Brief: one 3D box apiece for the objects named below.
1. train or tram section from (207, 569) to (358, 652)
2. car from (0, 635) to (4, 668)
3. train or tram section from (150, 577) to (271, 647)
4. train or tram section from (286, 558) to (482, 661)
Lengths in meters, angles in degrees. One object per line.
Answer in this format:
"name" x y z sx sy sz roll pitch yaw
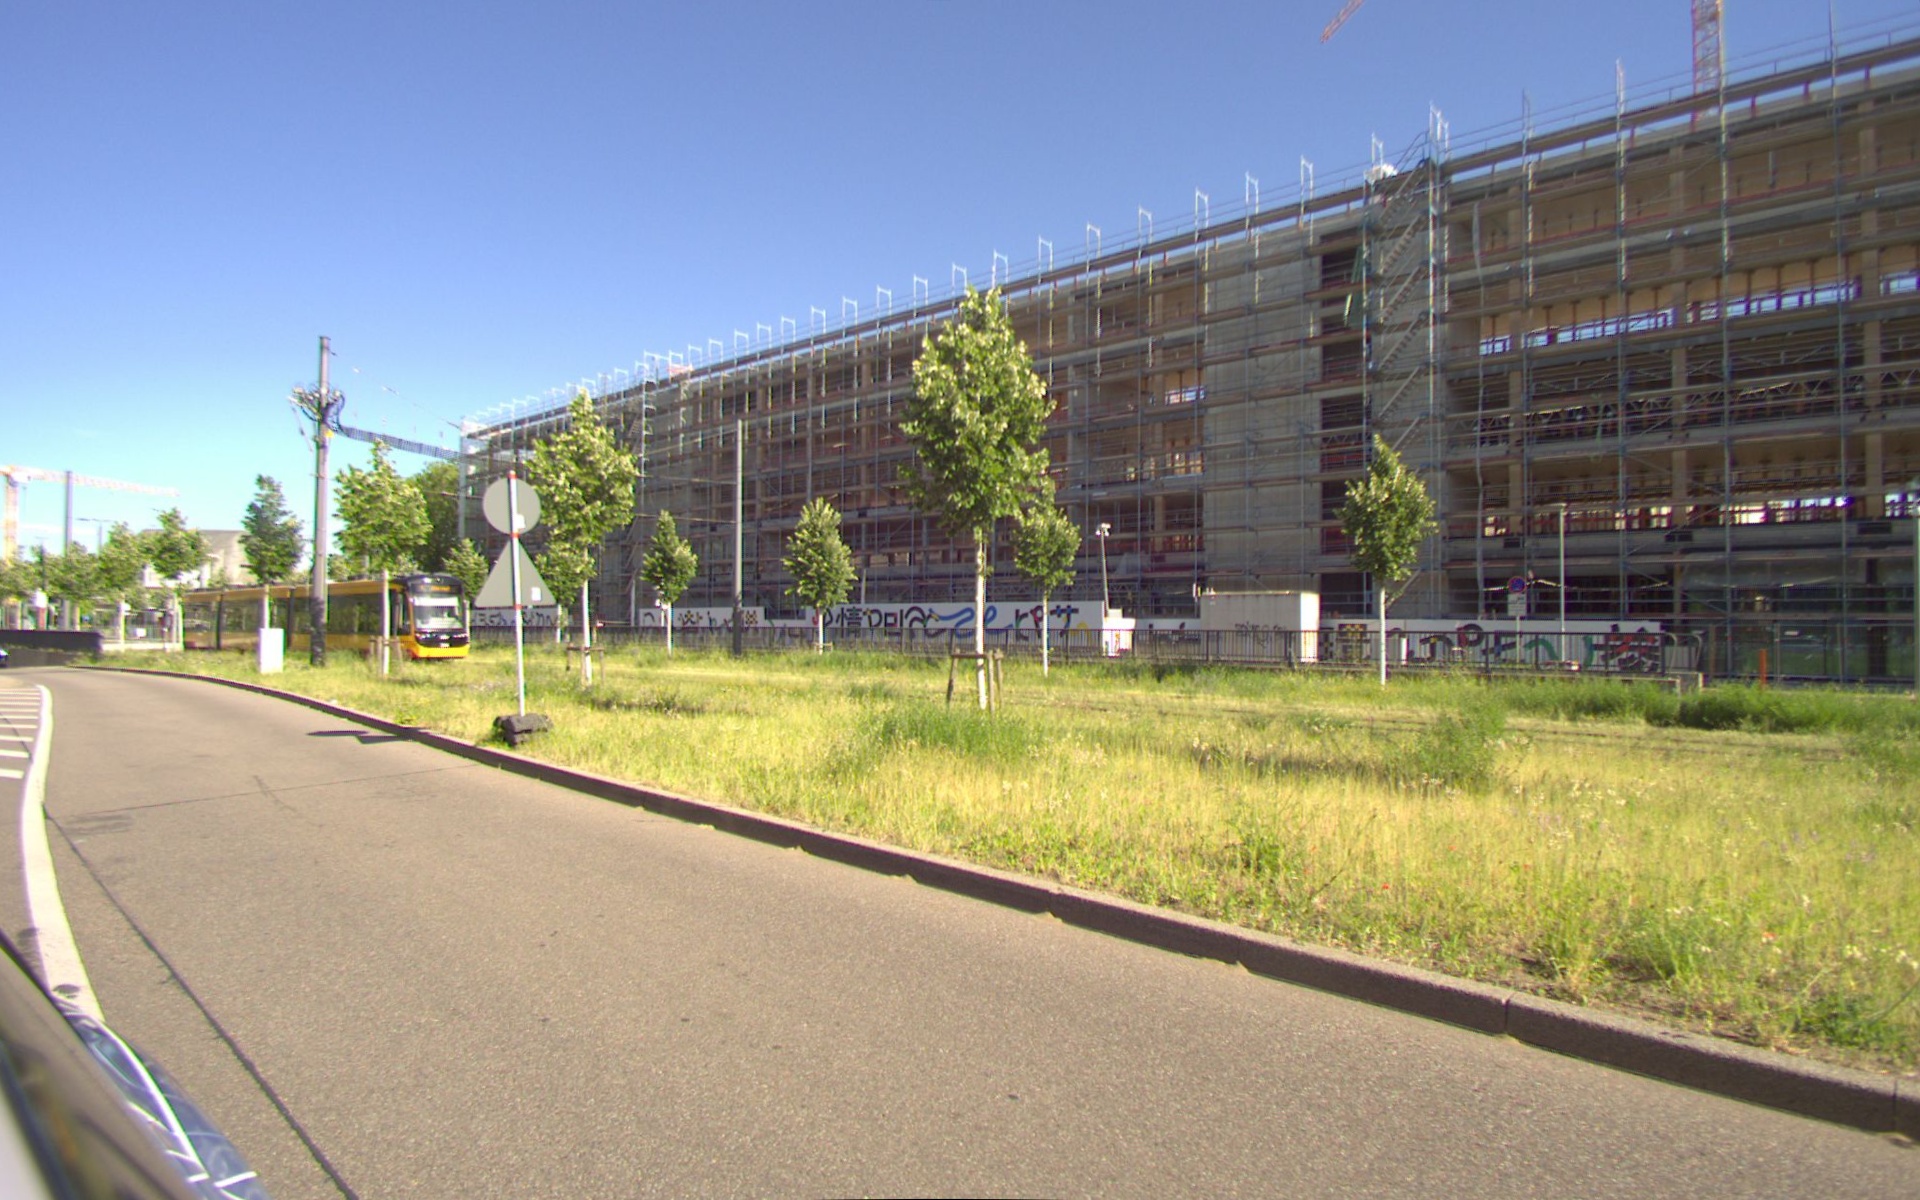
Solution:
"train or tram section" -33.472 0.573 49.650 12.781 3.666 2.786 -1 -2 41
"car" -45.663 2.357 46.725 4.176 1.454 1.902 -1 -2 43
"train or tram section" -43.129 0.733 57.955 12.781 3.666 2.786 -1 -2 41
"train or tram section" -23.819 0.432 41.313 12.781 3.666 2.786 -1 -2 41
